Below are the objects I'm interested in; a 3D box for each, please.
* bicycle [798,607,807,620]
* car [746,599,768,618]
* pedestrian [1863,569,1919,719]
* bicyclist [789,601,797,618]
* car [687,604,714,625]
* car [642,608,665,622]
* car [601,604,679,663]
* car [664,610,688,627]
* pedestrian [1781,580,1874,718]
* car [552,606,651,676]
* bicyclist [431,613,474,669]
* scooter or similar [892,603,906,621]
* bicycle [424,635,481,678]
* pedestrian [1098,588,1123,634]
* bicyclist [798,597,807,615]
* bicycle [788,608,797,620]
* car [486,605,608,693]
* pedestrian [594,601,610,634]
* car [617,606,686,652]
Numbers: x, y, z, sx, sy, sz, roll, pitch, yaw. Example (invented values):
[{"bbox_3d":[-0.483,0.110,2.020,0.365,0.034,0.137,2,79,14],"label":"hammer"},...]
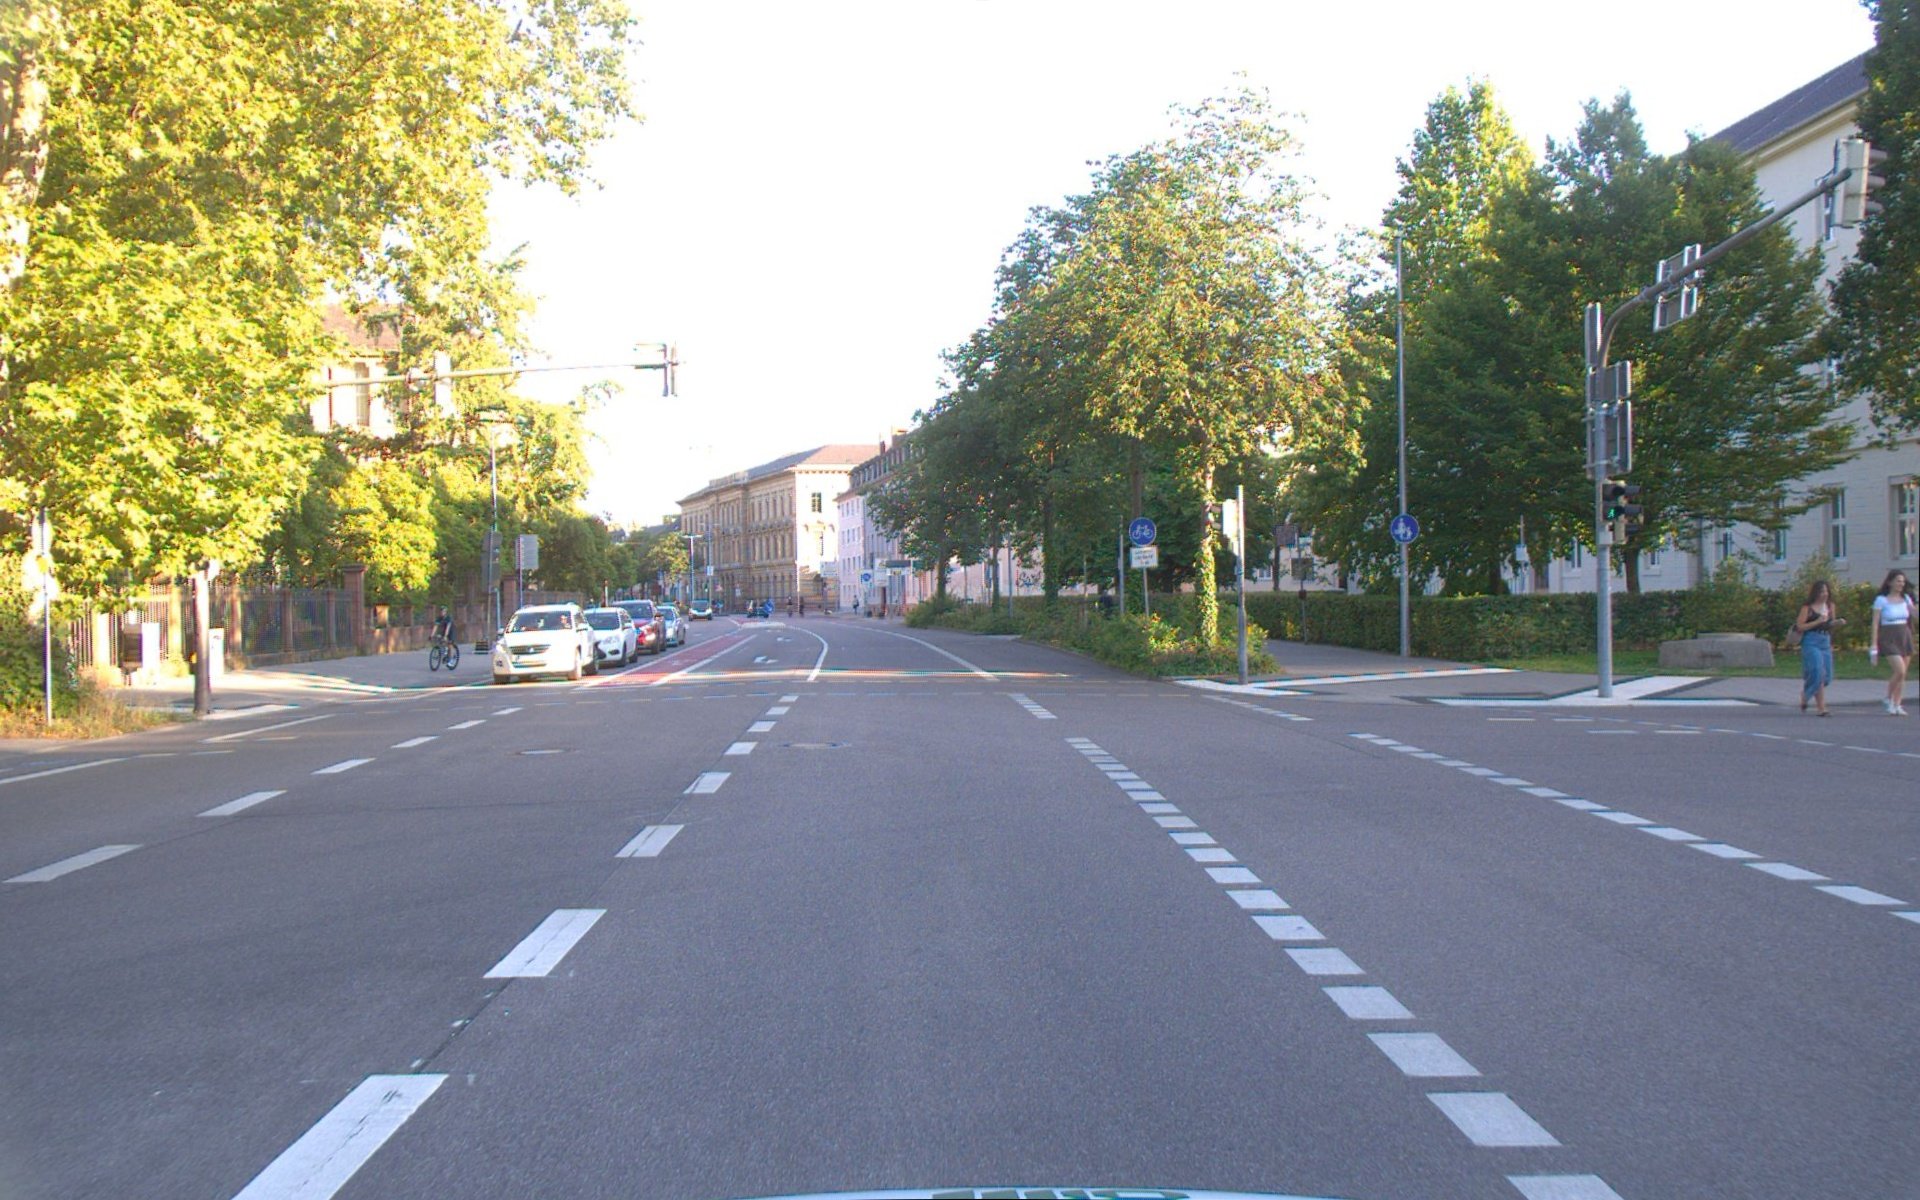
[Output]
[{"bbox_3d":[-13.449,1.130,141.041,0.640,1.033,2.193,1,0,-9],"label":"bicycle"},{"bbox_3d":[-17.270,0.731,140.515,1.832,1.536,3.993,0,0,-8],"label":"car"},{"bbox_3d":[11.550,0.526,20.158,0.667,1.784,0.688,-1,0,-1],"label":"pedestrian"},{"bbox_3d":[-14.276,0.793,141.351,0.640,1.471,0.877,1,0,-9],"label":"bicyclist"},{"bbox_3d":[-21.259,1.178,135.286,1.817,1.553,3.986,-3,0,-13],"label":"car"},{"bbox_3d":[-36.533,1.774,196.802,1.966,1.613,3.974,-1,0,-22],"label":"car"},{"bbox_3d":[-10.020,1.010,52.069,1.879,1.653,4.634,-3,0,-5],"label":"car"},{"bbox_3d":[-27.463,1.792,159.854,1.805,1.464,3.984,-3,0,-15],"label":"car"},{"bbox_3d":[10.664,0.588,20.358,0.667,1.650,0.845,-1,0,-1],"label":"pedestrian"},{"bbox_3d":[-9.375,1.023,43.589,1.879,1.611,4.669,-3,0,-5],"label":"car"},{"bbox_3d":[-13.533,1.093,44.120,0.838,1.456,0.943,-1,0,-1],"label":"bicyclist"},{"bbox_3d":[-4.875,0.966,132.188,0.619,1.360,2.391,-1,0,-14],"label":"scooter or similar"},{"bbox_3d":[-13.507,1.498,44.079,0.838,1.033,2.197,-1,0,-1],"label":"bicycle"},{"bbox_3d":[5.885,0.428,64.636,0.756,1.769,0.805,-1,0,-11],"label":"pedestrian"},{"bbox_3d":[-13.438,0.492,141.051,0.640,1.501,0.939,1,0,-9],"label":"bicyclist"},{"bbox_3d":[-14.295,1.205,141.435,0.640,1.033,2.193,1,0,-9],"label":"bicycle"},{"bbox_3d":[-9.138,1.038,36.942,1.879,1.725,4.422,-3,0,-5],"label":"car"},{"bbox_3d":[-18.244,0.888,84.321,0.667,1.650,0.688,-1,0,-2],"label":"pedestrian"},{"bbox_3d":[-10.866,0.979,58.570,1.879,1.442,4.765,-3,0,-5],"label":"car"}]
